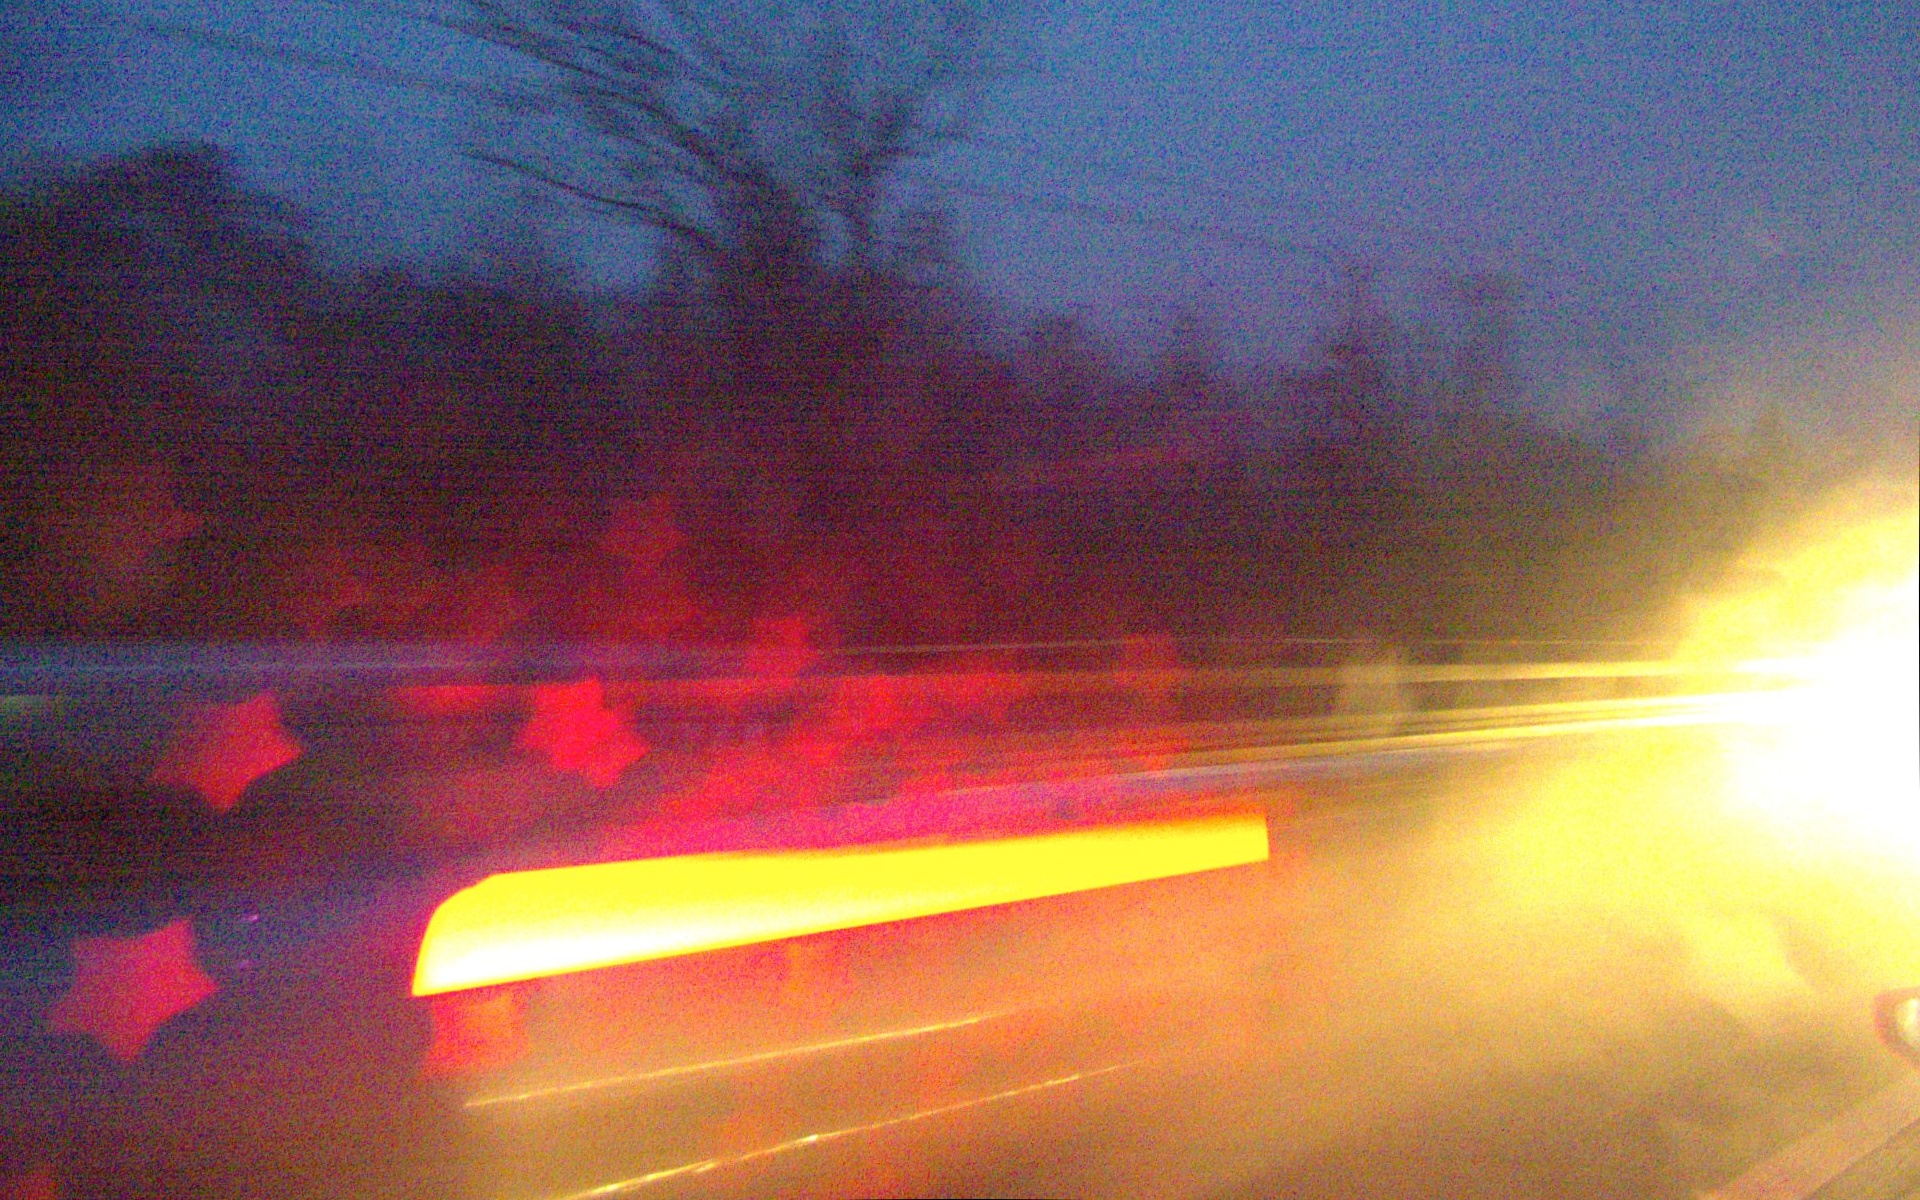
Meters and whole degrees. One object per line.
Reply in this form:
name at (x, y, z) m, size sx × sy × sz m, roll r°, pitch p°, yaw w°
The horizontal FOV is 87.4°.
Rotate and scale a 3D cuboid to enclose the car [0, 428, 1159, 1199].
car at (-1.799, 0.453, 1.949) m, size 4.140 × 1.356 × 1.797 m, roll 2°, pitch -1°, yaw -30°
